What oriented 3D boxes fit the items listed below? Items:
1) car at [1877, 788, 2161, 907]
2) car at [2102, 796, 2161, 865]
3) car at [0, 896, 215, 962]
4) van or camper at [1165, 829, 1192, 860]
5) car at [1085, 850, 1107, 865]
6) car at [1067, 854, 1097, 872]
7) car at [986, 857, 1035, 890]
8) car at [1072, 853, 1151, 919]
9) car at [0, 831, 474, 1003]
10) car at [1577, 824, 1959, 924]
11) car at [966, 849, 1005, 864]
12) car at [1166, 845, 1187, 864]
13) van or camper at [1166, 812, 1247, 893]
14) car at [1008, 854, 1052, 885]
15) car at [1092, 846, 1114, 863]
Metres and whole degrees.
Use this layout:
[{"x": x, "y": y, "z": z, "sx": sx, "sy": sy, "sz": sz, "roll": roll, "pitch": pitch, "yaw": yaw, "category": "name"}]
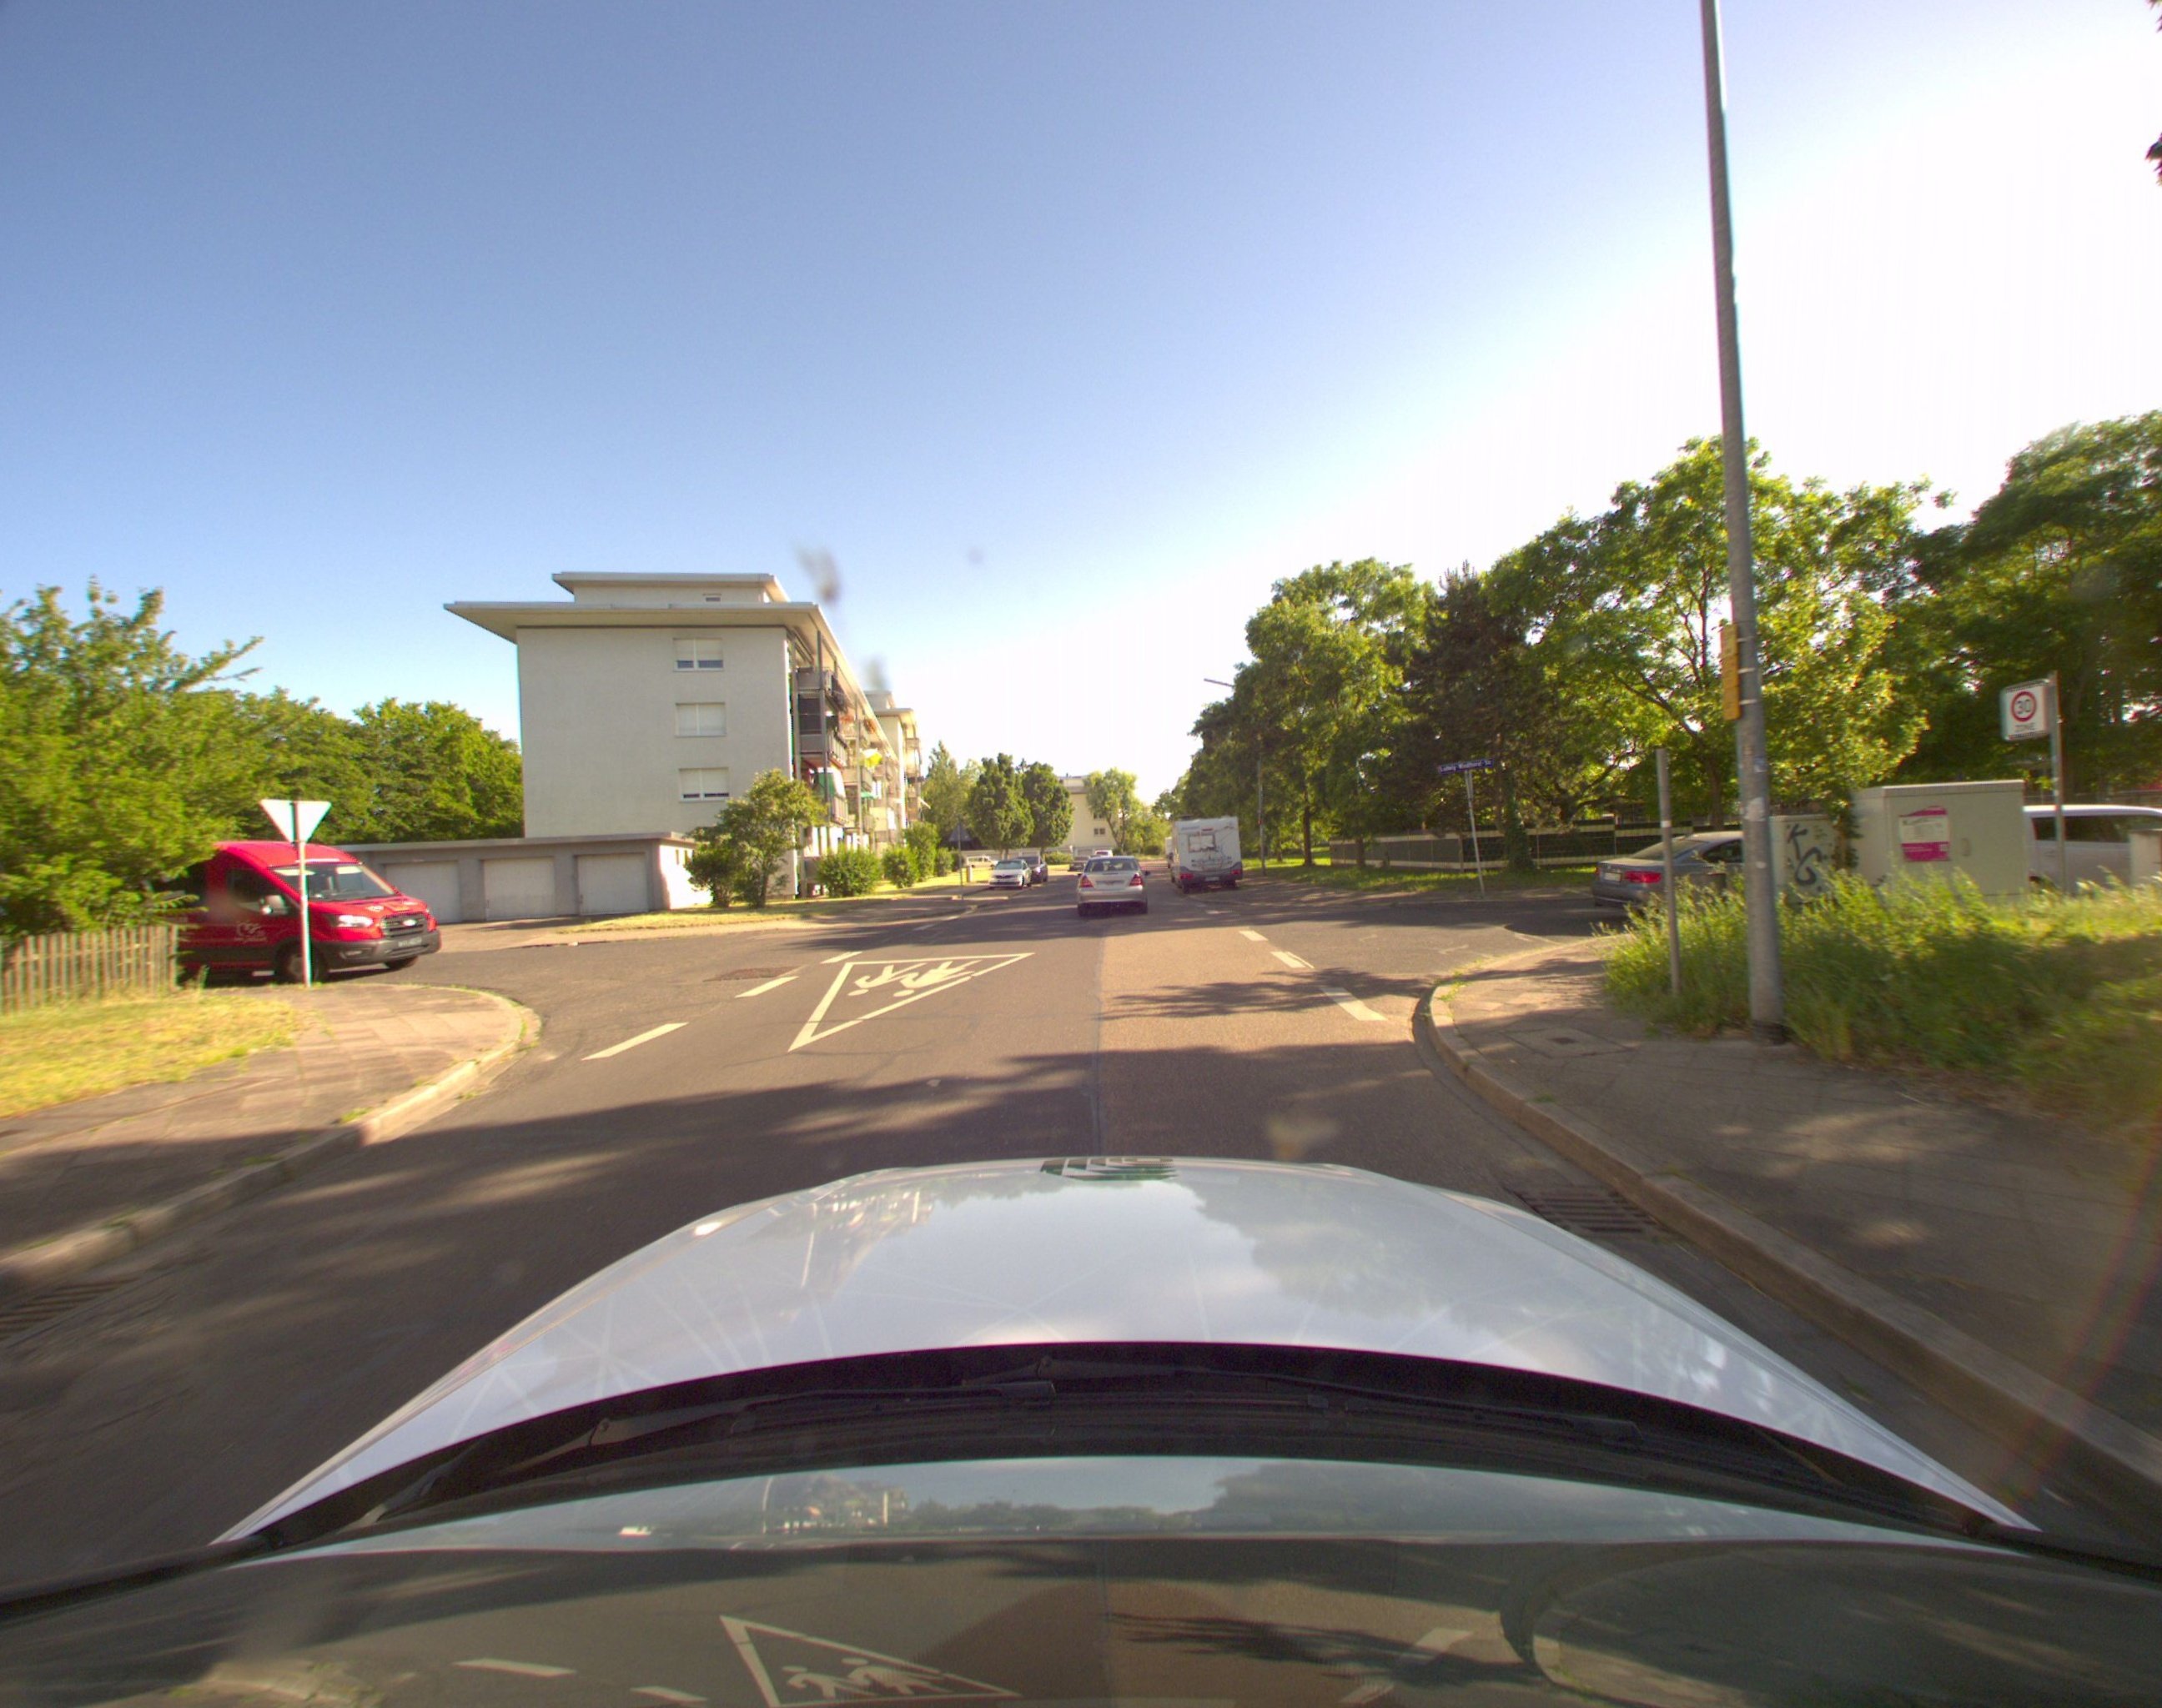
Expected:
[{"x": 14.948, "y": -0.135, "z": 12.379, "sx": 3.662, "sy": 1.578, "sz": 1.833, "roll": -3, "pitch": 0, "yaw": 9, "category": "car"}, {"x": 24.188, "y": -0.571, "z": 16.782, "sx": 3.847, "sy": 1.396, "sz": 1.790, "roll": -3, "pitch": 2, "yaw": 5, "category": "car"}, {"x": -27.390, "y": 2.042, "z": 23.015, "sx": 1.841, "sy": 1.388, "sz": 4.019, "roll": -4, "pitch": 0, "yaw": -9, "category": "car"}, {"x": 9.759, "y": -0.915, "z": 81.602, "sx": 2.483, "sy": 2.845, "sz": 6.864, "roll": -3, "pitch": 0, "yaw": 6, "category": "van or camper"}, {"x": 1.643, "y": 0.355, "z": 88.744, "sx": 1.823, "sy": 1.518, "sz": 4.231, "roll": -1, "pitch": 0, "yaw": 8, "category": "car"}, {"x": 0.125, "y": 0.796, "z": 75.665, "sx": 2.024, "sy": 1.492, "sz": 5.267, "roll": -3, "pitch": 0, "yaw": 7, "category": "car"}, {"x": -3.456, "y": 0.945, "z": 40.707, "sx": 1.639, "sy": 1.466, "sz": 4.337, "roll": -2, "pitch": 0, "yaw": 5, "category": "car"}, {"x": 0.835, "y": 0.743, "z": 20.472, "sx": 1.725, "sy": 1.434, "sz": 3.442, "roll": -3, "pitch": -1, "yaw": 4, "category": "car"}, {"x": -14.548, "y": 1.007, "z": 14.332, "sx": 5.883, "sy": 2.428, "sz": 2.214, "roll": -4, "pitch": 2, "yaw": 1, "category": "car"}, {"x": 10.611, "y": 0.279, "z": 12.884, "sx": 4.402, "sy": 1.337, "sz": 1.749, "roll": -2, "pitch": 2, "yaw": 6, "category": "car"}, {"x": -14.034, "y": 0.403, "z": 119.699, "sx": 5.068, "sy": 1.951, "sz": 2.246, "roll": -3, "pitch": 0, "yaw": 15, "category": "car"}, {"x": 8.707, "y": 0.000, "z": 74.554, "sx": 1.712, "sy": 1.524, "sz": 4.436, "roll": -6, "pitch": 0, "yaw": 6, "category": "car"}, {"x": 4.721, "y": -0.074, "z": 31.663, "sx": 2.341, "sy": 2.596, "sz": 6.433, "roll": -6, "pitch": 0, "yaw": 4, "category": "van or camper"}, {"x": -2.911, "y": 0.839, "z": 47.359, "sx": 1.906, "sy": 1.604, "sz": 4.816, "roll": -3, "pitch": 0, "yaw": 3, "category": "car"}, {"x": 2.625, "y": 0.042, "z": 95.246, "sx": 2.003, "sy": 1.885, "sz": 5.203, "roll": -1, "pitch": 0, "yaw": 8, "category": "car"}]
